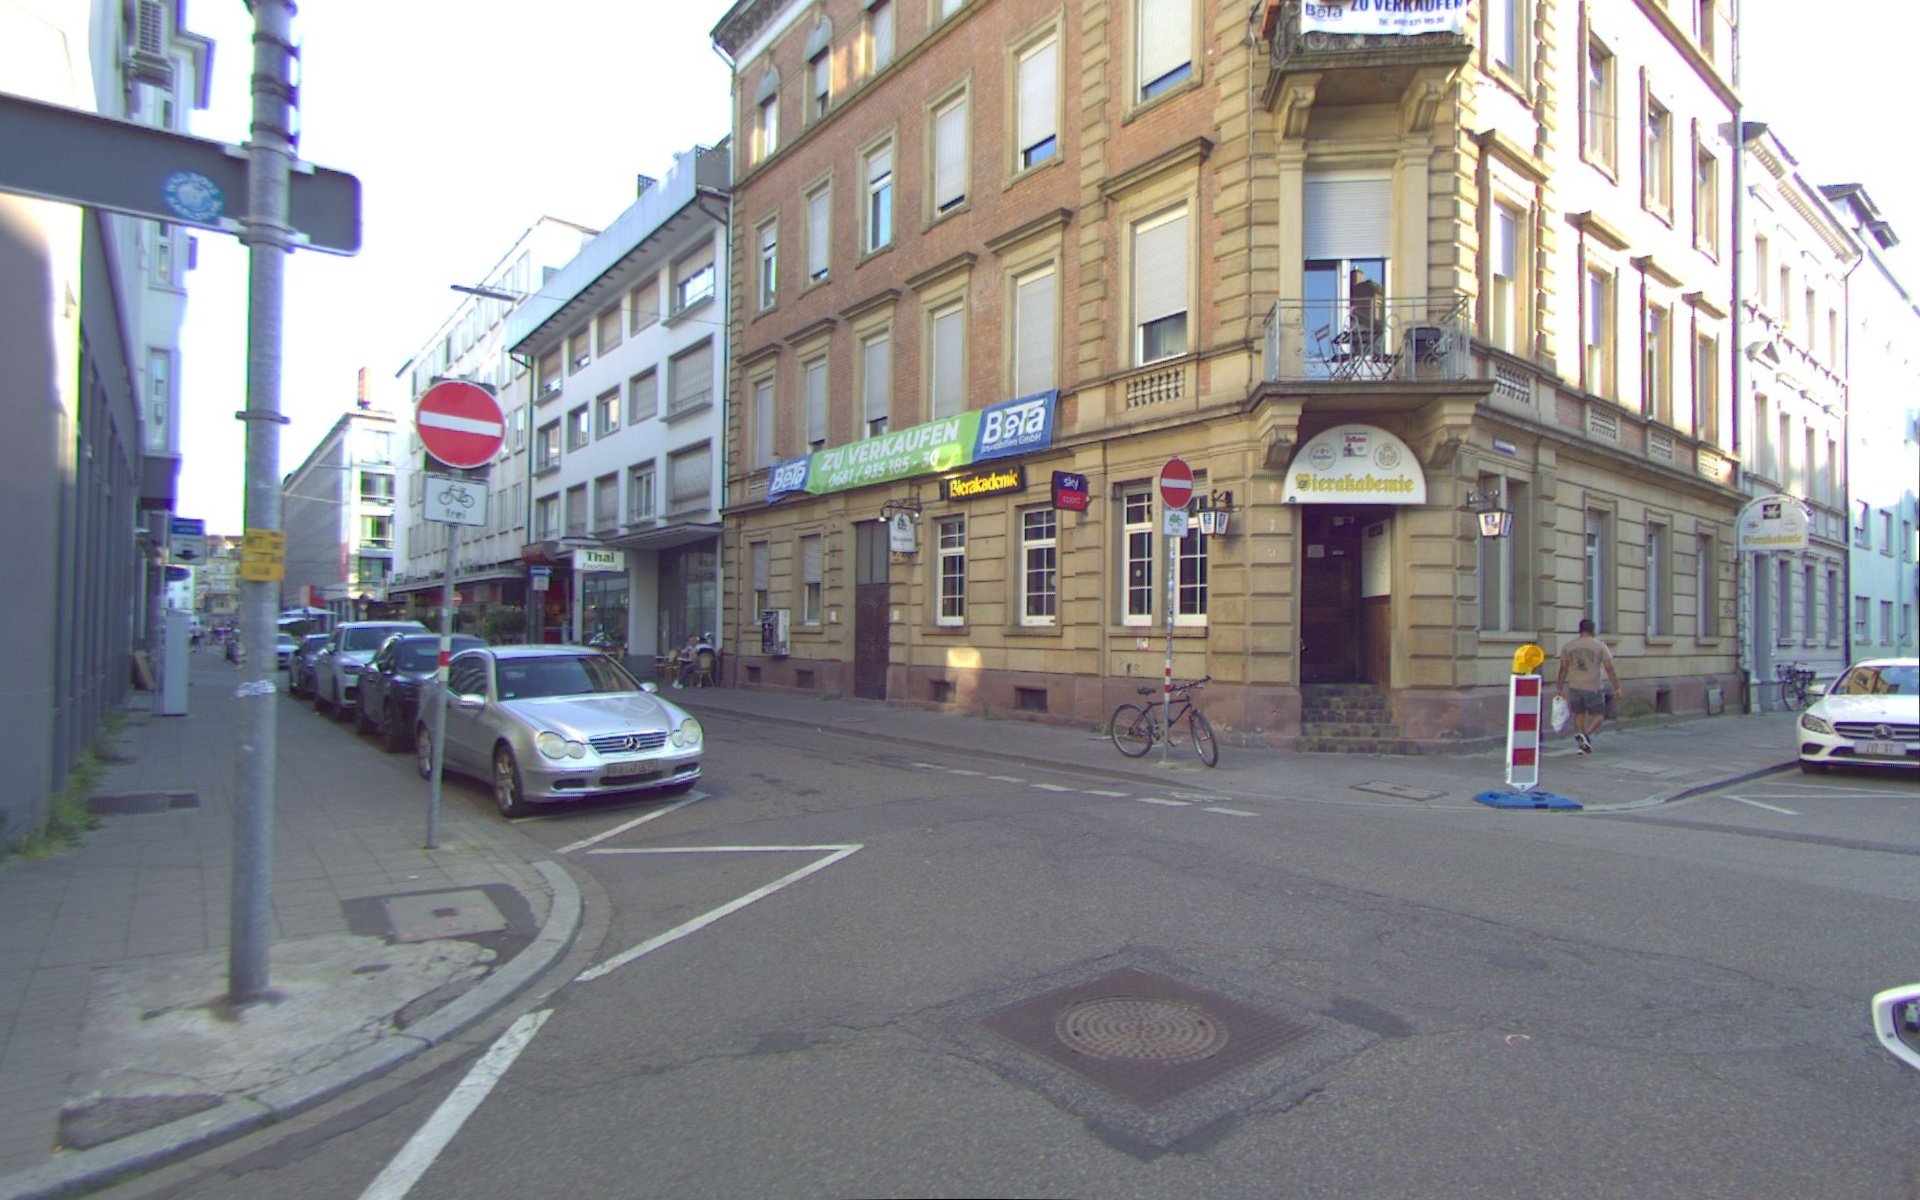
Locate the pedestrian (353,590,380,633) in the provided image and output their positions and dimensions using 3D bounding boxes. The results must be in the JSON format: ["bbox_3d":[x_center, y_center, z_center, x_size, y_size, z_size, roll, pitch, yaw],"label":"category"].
[{"bbox_3d":[-37.151,0.713,62.865,1.237,2.648,1.451,2,-1,-39],"label":"pedestrian"}]

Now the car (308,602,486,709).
[{"bbox_3d":[-10.769,0.981,19.053,2.316,1.767,4.439,2,-2,-38],"label":"car"}]

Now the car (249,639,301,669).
[{"bbox_3d":[-26.942,2.103,39.476,1.501,1.073,3.430,2,-2,-37],"label":"car"}]

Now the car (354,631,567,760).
[{"bbox_3d":[-7.328,1.241,14.522,1.997,1.544,4.073,2,-2,-37],"label":"car"}]

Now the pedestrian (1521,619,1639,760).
[{"bbox_3d":[8.164,1.140,13.248,1.005,1.765,0.977,2,-1,-31],"label":"pedestrian"}]

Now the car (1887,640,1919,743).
[{"bbox_3d":[16.752,1.485,16.515,3.720,1.597,1.613,2,-2,-37],"label":"car"}]

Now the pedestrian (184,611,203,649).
[{"bbox_3d":[-43.724,1.702,57.267,0.794,2.118,0.722,-1,-2,45],"label":"pedestrian"}]

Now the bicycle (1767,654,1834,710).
[{"bbox_3d":[19.088,1.840,22.791,2.440,1.176,0.731,2,-2,-39],"label":"bicycle"}]

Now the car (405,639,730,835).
[{"bbox_3d":[-4.106,1.146,10.039,1.742,1.420,4.437,0,-1,-40],"label":"car"}]

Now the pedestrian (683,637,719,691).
[{"bbox_3d":[-6.642,1.638,25.767,0.825,1.357,0.802,1,-1,-18],"label":"pedestrian"}]

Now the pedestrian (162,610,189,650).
[{"bbox_3d":[-43.827,1.674,56.110,0.873,2.203,1.026,-1,-2,45],"label":"pedestrian"}]

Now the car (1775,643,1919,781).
[{"bbox_3d":[12.546,1.372,13.258,4.470,1.584,1.977,2,-4,-41],"label":"car"}]

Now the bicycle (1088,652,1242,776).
[{"bbox_3d":[2.428,1.318,12.061,0.655,1.292,1.742,-2,1,-41],"label":"bicycle"}]
